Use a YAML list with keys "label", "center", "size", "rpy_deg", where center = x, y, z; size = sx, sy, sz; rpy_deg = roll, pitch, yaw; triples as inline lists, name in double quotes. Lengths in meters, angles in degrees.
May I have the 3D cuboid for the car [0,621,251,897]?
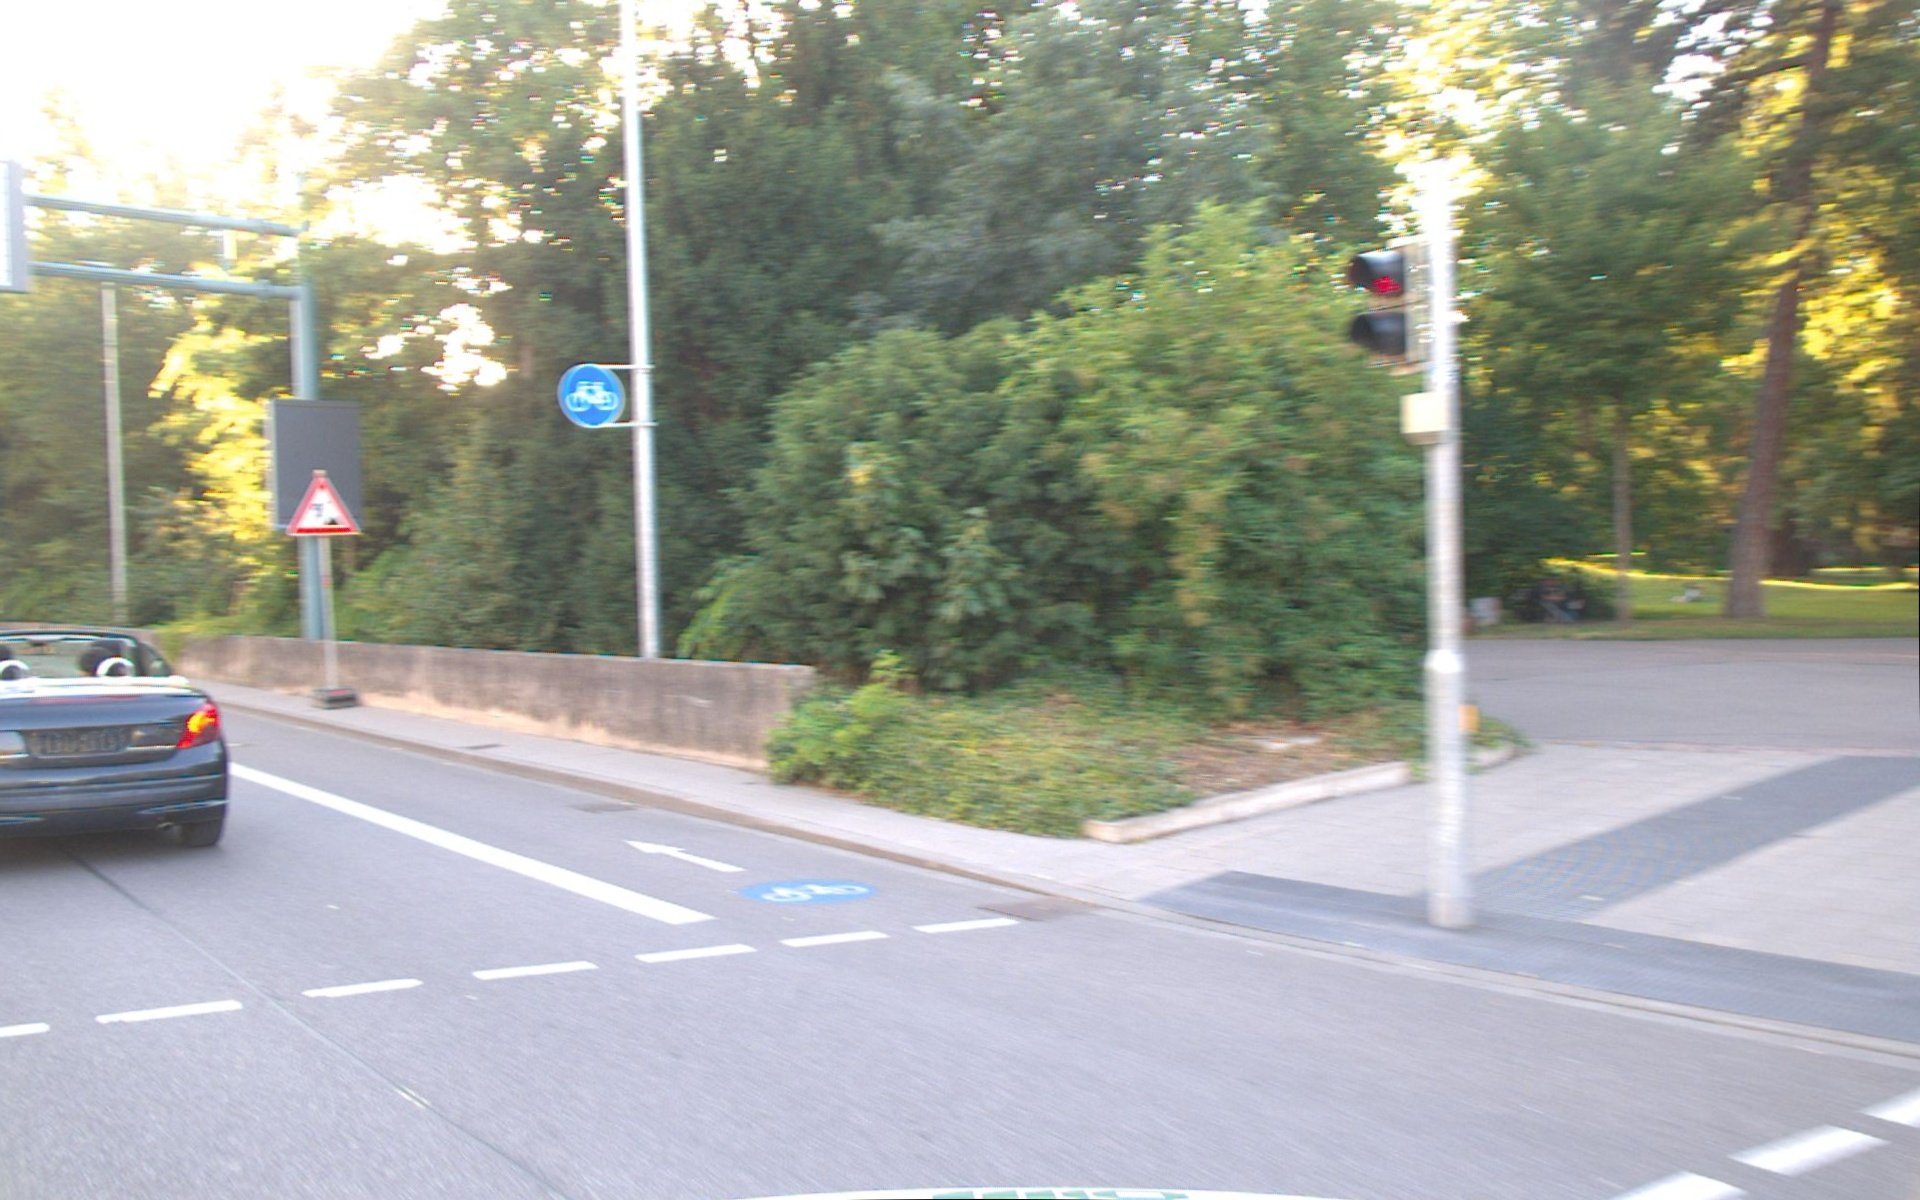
- label: "car"
  center: [-6.193, 0.918, 11.047]
  size: [1.707, 1.475, 3.847]
  rpy_deg: [-3, 1, -38]
